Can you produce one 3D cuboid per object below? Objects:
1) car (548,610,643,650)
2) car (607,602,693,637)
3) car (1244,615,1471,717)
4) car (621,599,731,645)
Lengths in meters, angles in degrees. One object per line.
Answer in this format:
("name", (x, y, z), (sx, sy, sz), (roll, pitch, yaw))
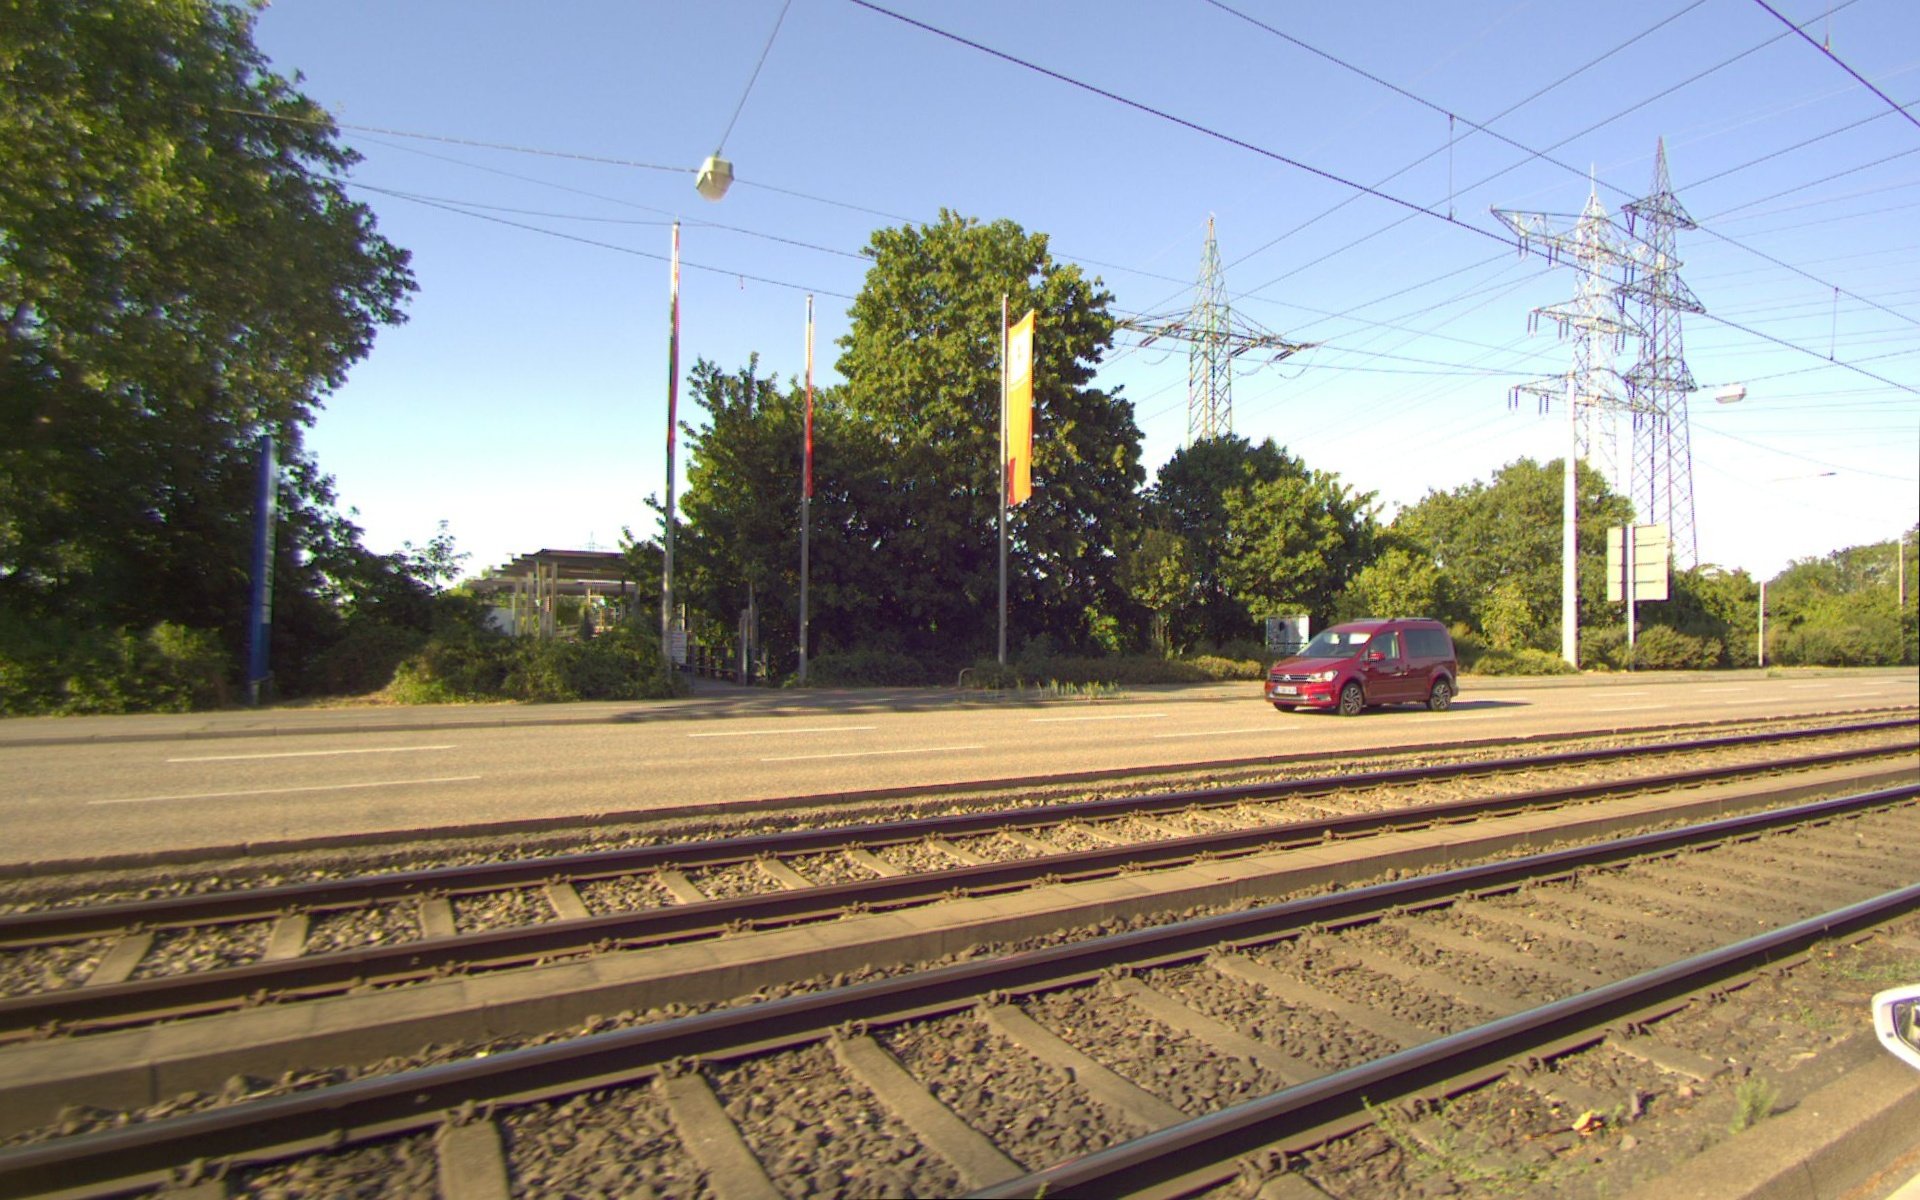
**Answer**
("car", (-16.755, 1.399, 46.165), (3.850, 1.706, 1.778), (2, 0, -30))
("car", (-16.020, 1.010, 51.952), (3.952, 1.706, 1.885), (2, 0, -30))
("car", (7.941, 1.290, 19.989), (4.299, 1.819, 1.984), (2, -3, -30))
("car", (-11.648, 0.904, 41.202), (3.952, 1.706, 1.984), (2, 0, -30))
